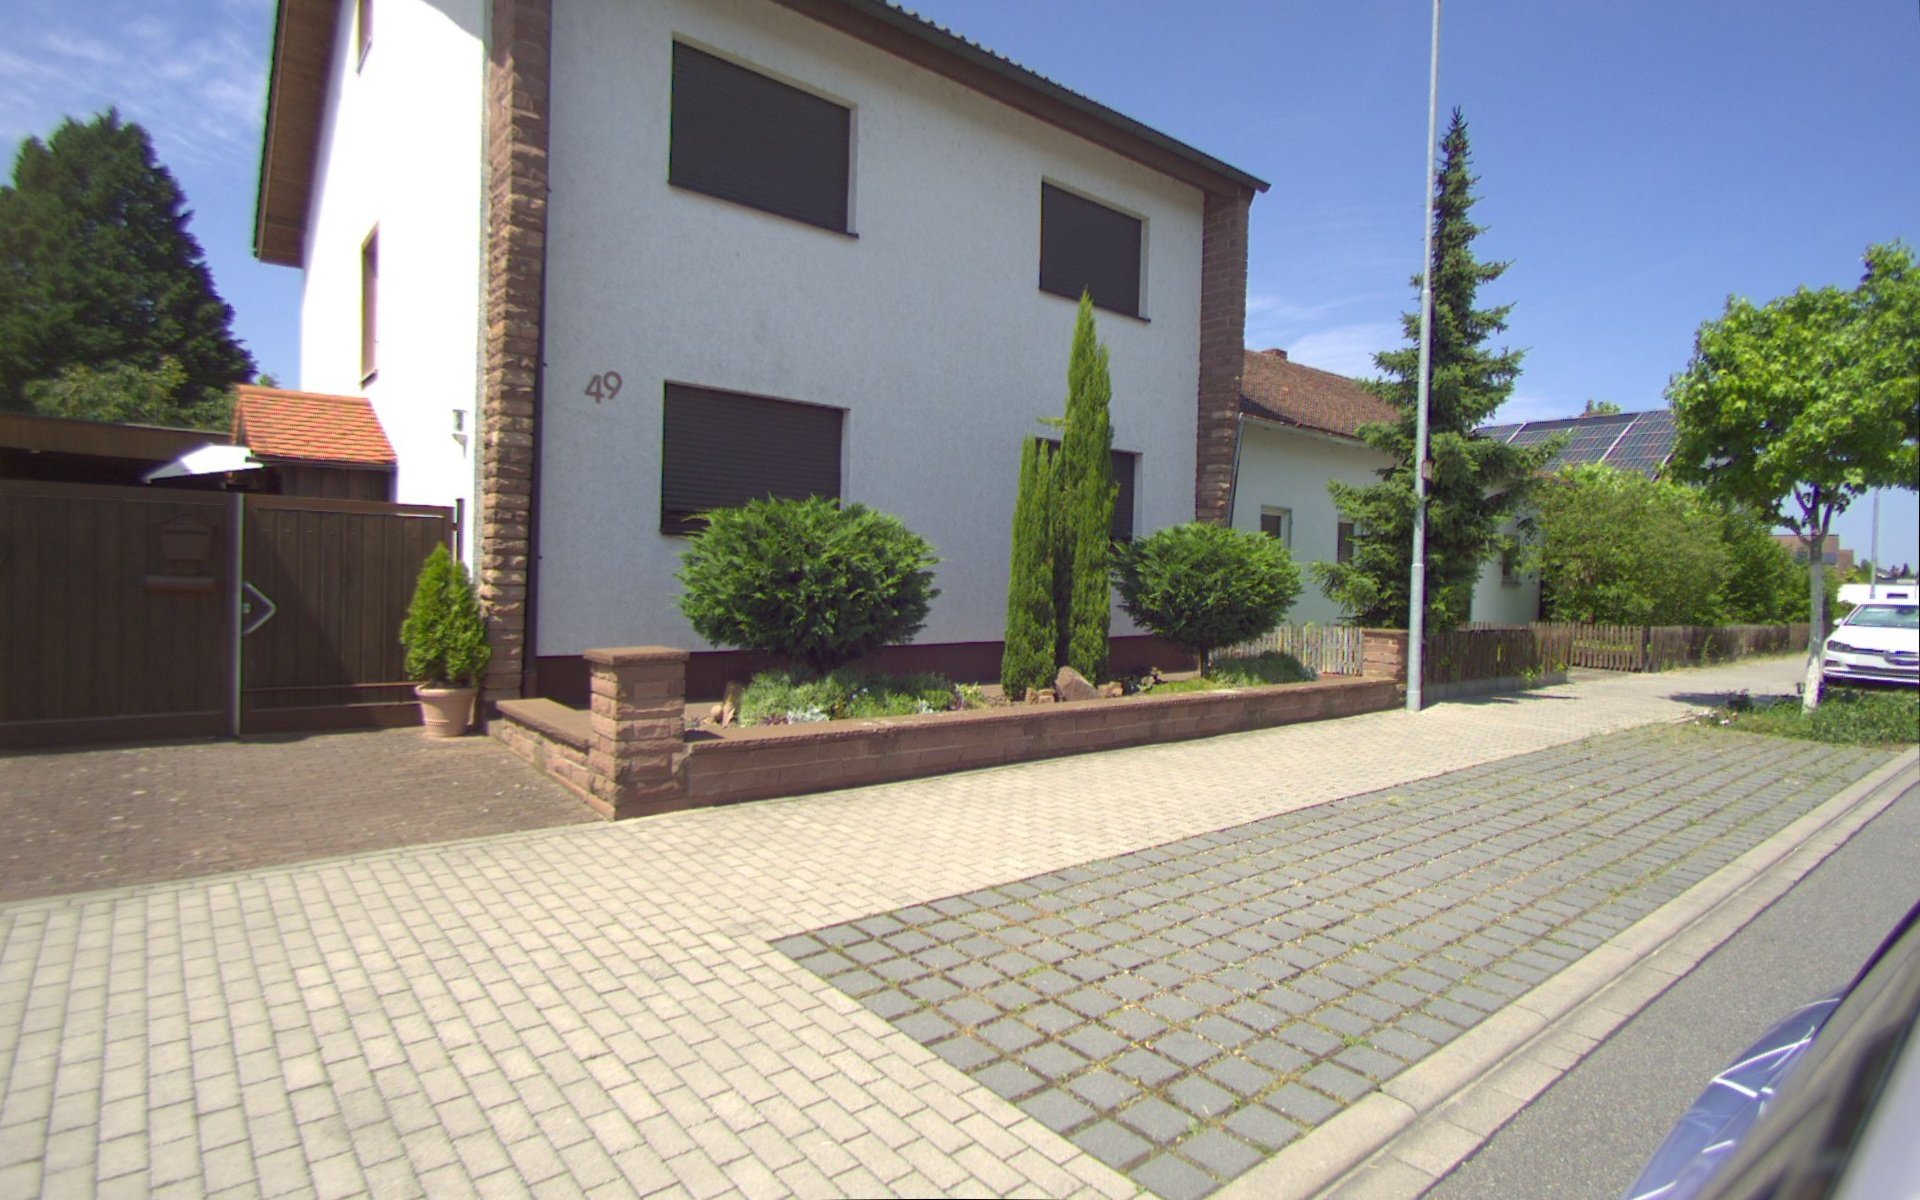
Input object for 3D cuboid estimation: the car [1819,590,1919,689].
[{"bbox_3d":[15.585,0.600,16.501,3.800,1.437,1.818,0,2,-41],"label":"car"}]
